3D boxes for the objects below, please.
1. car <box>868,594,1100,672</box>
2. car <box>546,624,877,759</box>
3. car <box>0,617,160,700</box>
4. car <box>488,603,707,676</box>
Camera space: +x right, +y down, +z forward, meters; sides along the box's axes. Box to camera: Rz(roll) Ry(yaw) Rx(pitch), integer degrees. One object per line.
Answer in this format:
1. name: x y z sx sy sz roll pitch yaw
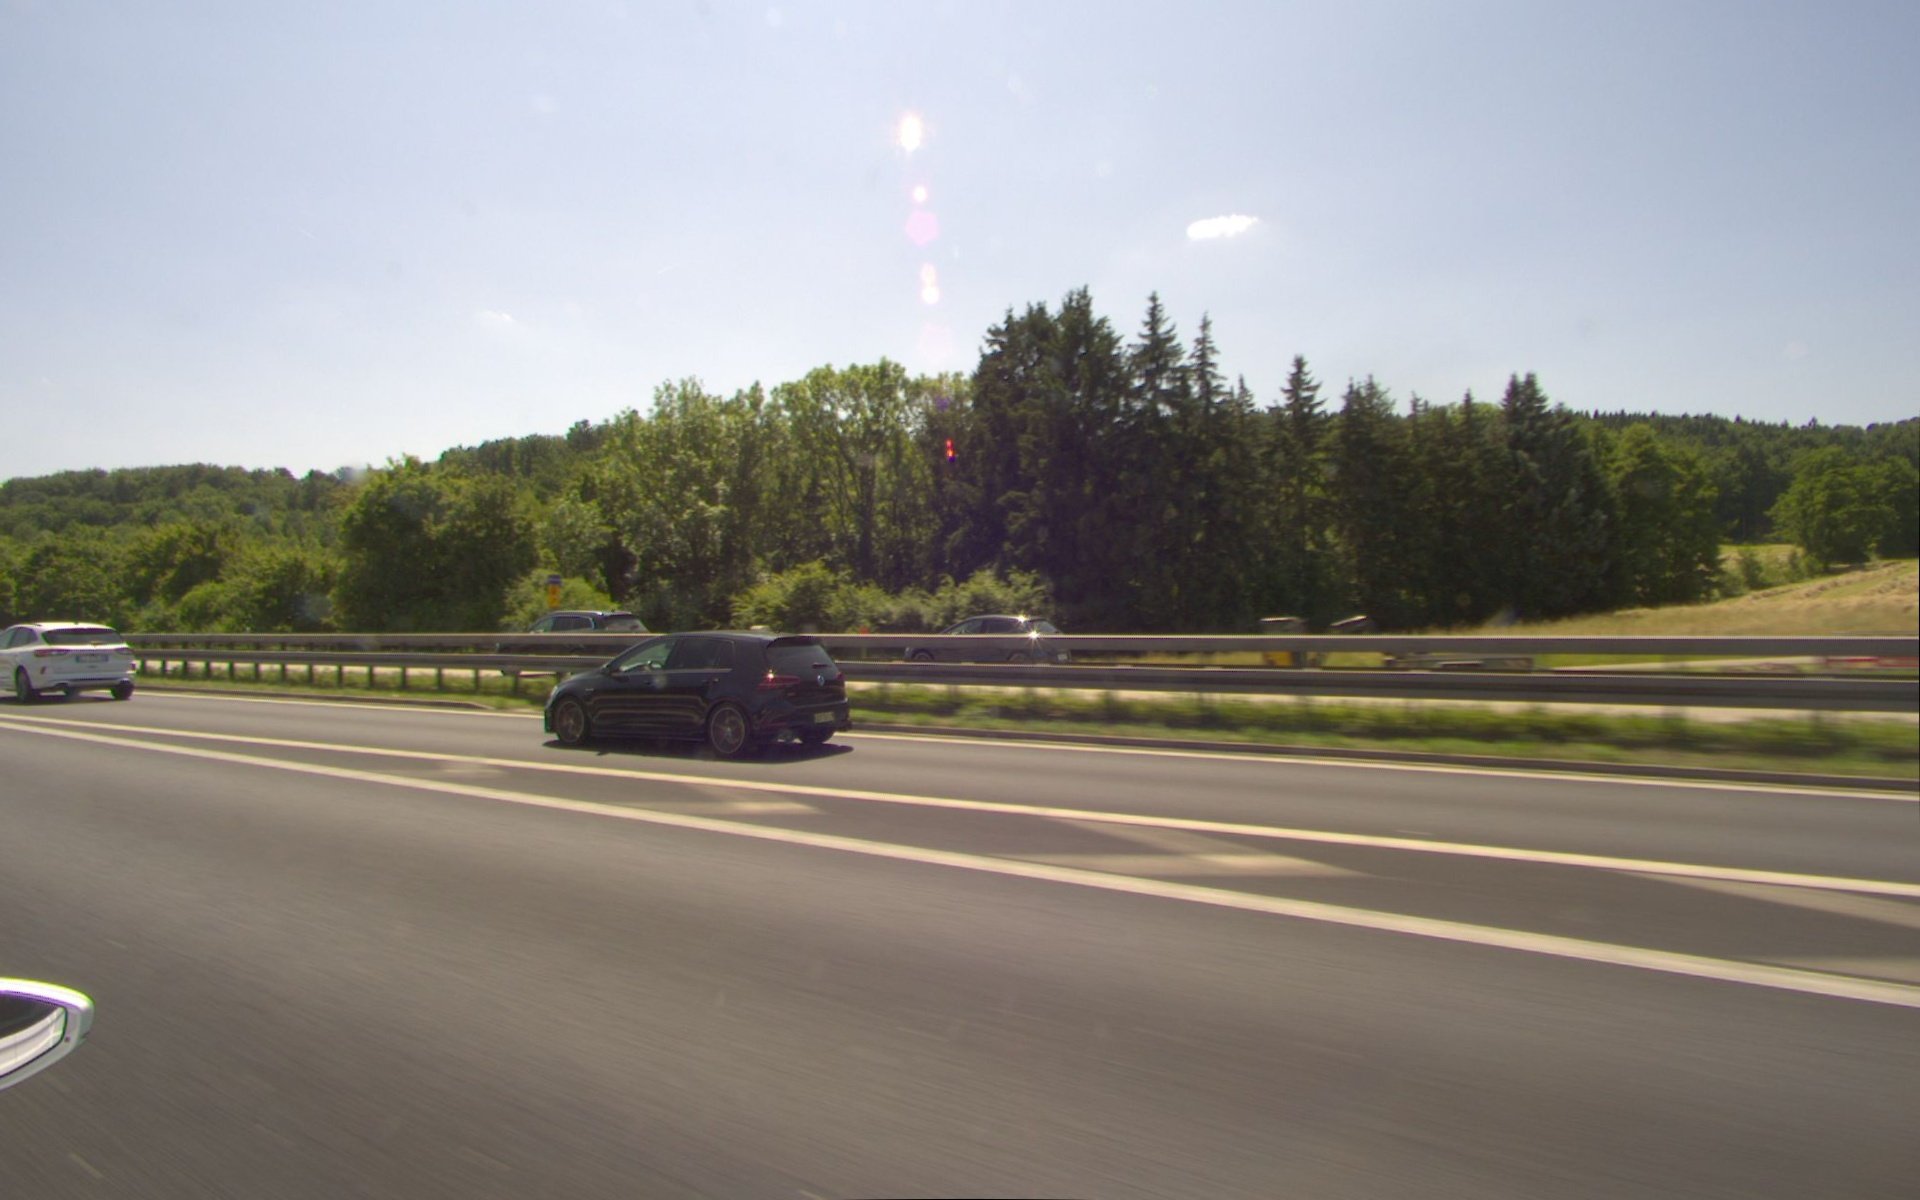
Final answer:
1. car: 0.514 0.785 23.572 5.151 1.683 1.991 -1 -2 30
2. car: -3.146 1.047 12.539 3.907 1.454 1.792 -1 -2 30
3. car: -19.824 1.248 22.112 4.403 1.683 1.991 -1 -2 31
4. car: -9.170 0.988 25.215 5.539 1.683 1.993 -1 -2 28
